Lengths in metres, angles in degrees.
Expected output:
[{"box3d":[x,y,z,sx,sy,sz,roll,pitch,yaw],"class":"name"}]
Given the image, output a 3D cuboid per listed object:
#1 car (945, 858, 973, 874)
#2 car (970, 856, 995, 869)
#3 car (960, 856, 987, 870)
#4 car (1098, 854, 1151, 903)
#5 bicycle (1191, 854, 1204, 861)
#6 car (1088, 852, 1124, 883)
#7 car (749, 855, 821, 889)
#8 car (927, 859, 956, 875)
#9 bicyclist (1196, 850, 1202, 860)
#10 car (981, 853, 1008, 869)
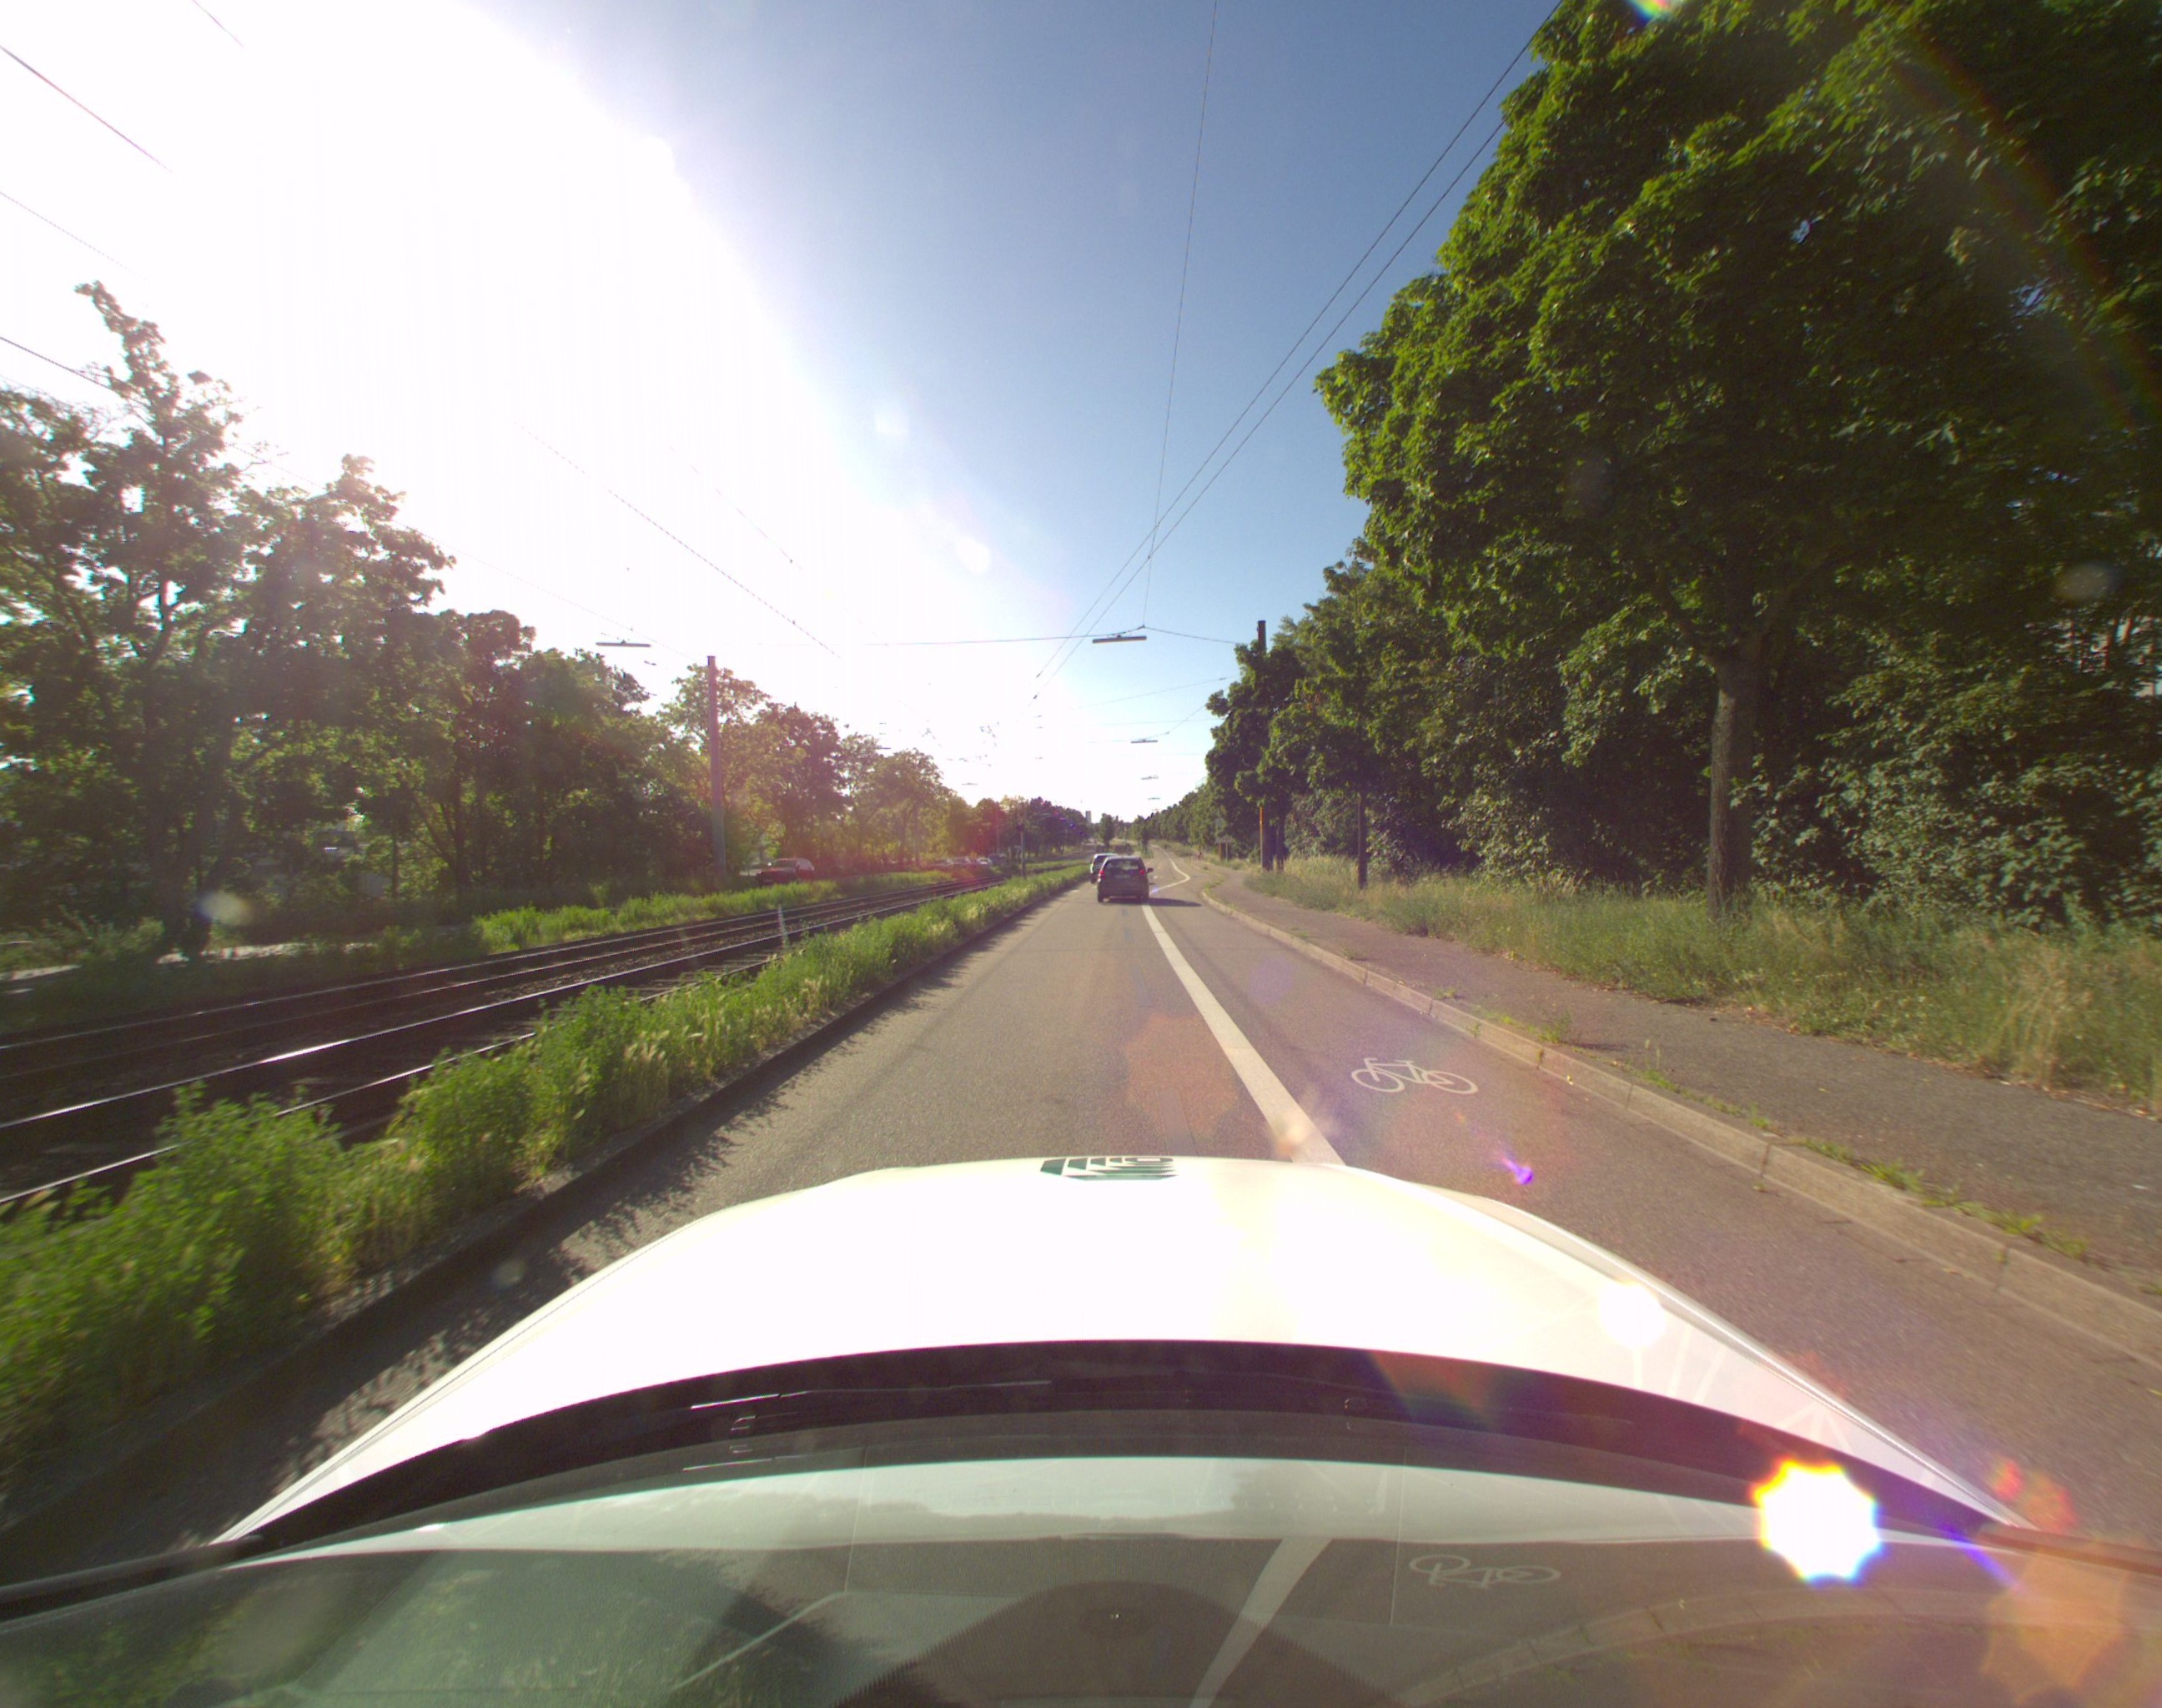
[{"box3d":[-12.754,1.200,85.482,1.984,1.574,4.440,-1,0,4],"class":"car"},{"box3d":[-11.719,1.014,97.407,1.918,1.437,4.703,-1,0,6],"class":"car"},{"box3d":[-12.003,1.029,91.427,1.983,1.437,4.422,-1,0,6],"class":"car"},{"box3d":[1.515,0.787,27.936,1.699,1.509,4.004,-1,0,4],"class":"car"},{"box3d":[19.403,0.562,135.421,1.905,0.998,0.767,-3,-1,16],"class":"bicycle"},{"box3d":[1.415,0.706,44.753,1.843,1.606,4.259,-1,0,4],"class":"car"},{"box3d":[-16.189,0.945,44.774,1.995,1.702,4.472,-1,0,5],"class":"car"},{"box3d":[-13.450,1.204,78.702,1.727,1.494,4.332,0,0,4],"class":"car"},{"box3d":[19.588,0.171,135.365,0.903,1.745,0.767,-3,-1,17],"class":"bicyclist"},{"box3d":[-10.972,0.849,103.747,2.184,1.891,4.802,-1,0,8],"class":"car"}]
